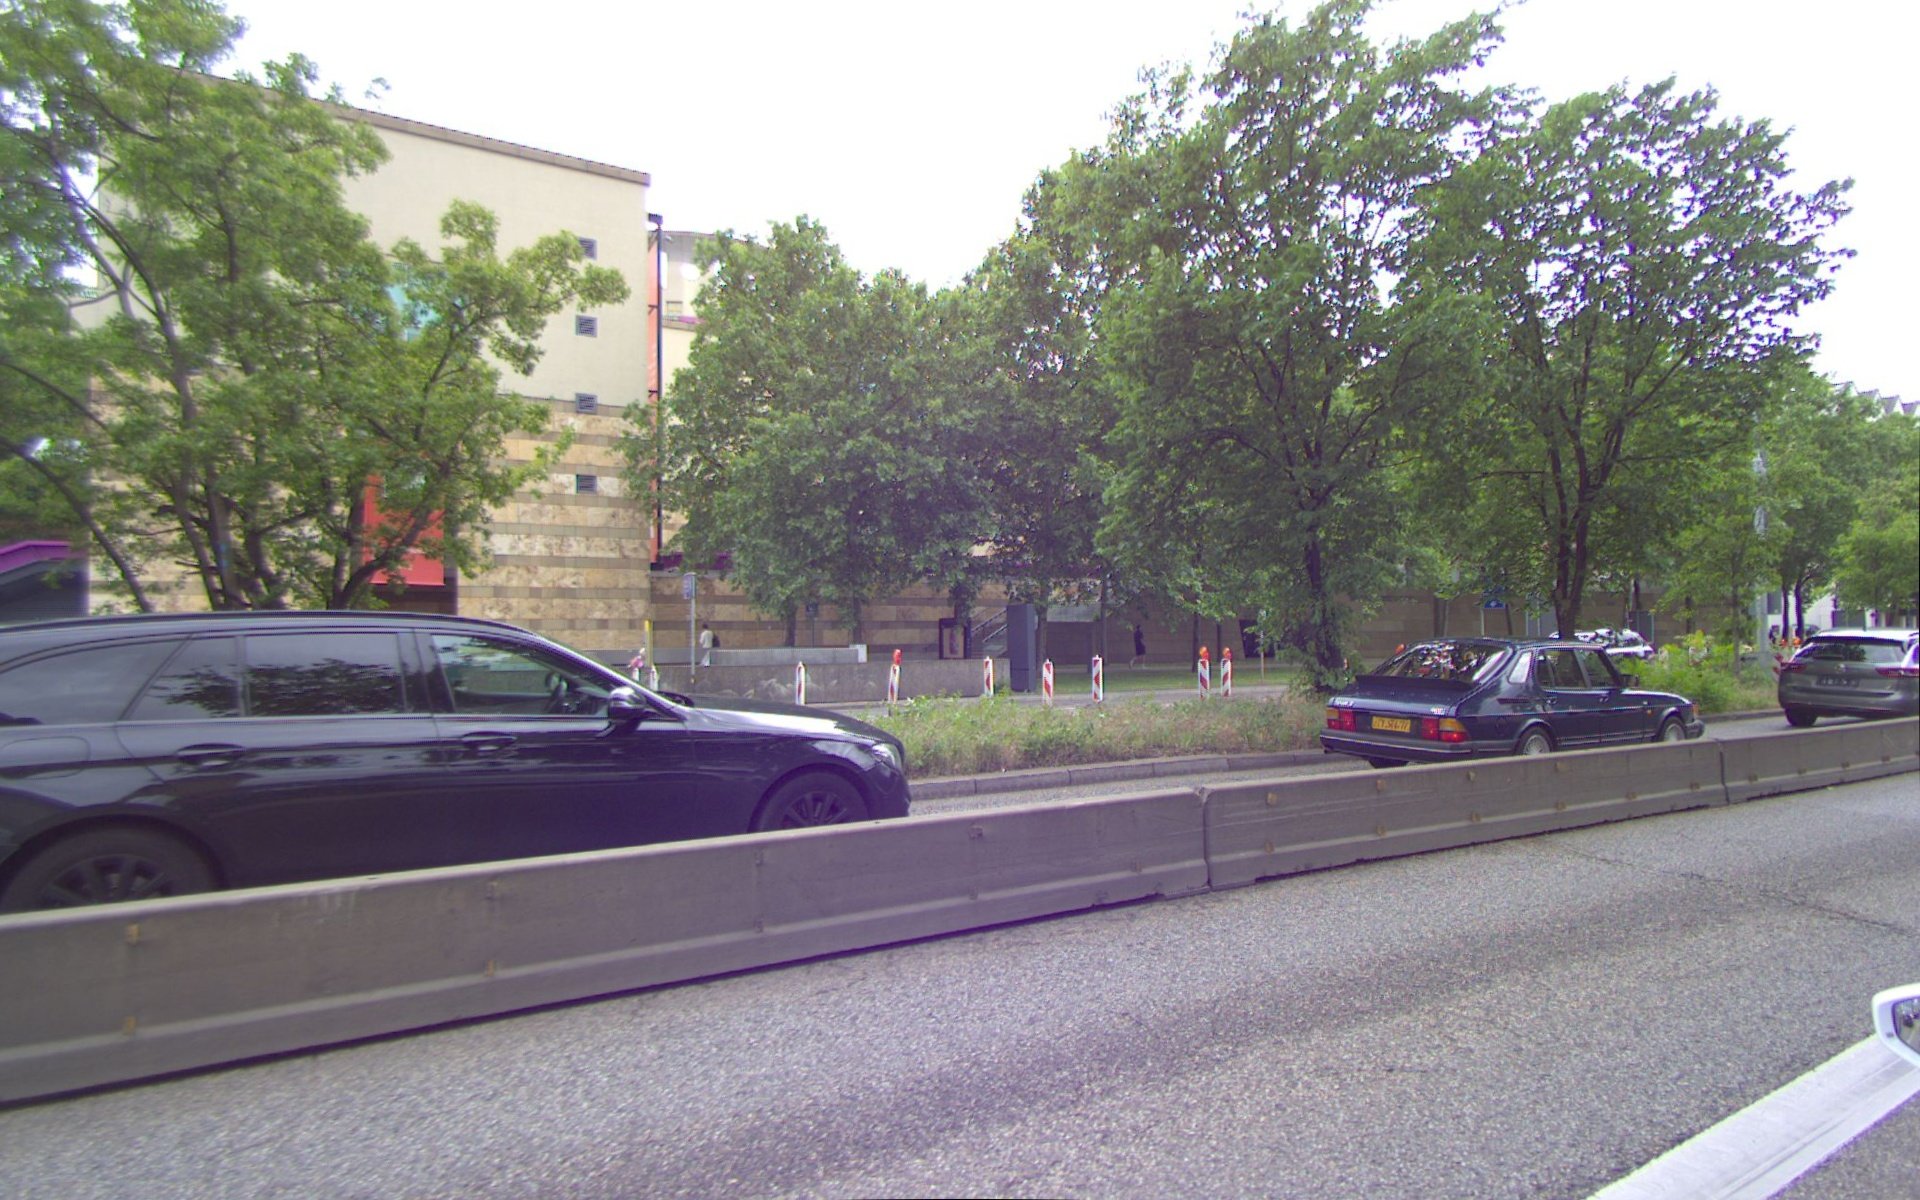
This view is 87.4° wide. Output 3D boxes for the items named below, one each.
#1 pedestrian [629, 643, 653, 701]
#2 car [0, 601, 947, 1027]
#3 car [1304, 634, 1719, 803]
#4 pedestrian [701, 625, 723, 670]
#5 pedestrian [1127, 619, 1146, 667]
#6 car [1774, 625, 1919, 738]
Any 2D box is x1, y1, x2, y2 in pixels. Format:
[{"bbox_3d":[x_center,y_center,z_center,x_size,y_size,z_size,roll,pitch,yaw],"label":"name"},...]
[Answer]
[{"bbox_3d":[-8.802,1.972,27.696,0.555,1.552,0.523,0,-1,-28],"label":"pedestrian"},{"bbox_3d":[-2.537,0.810,5.189,4.714,1.519,1.807,1,-2,-31],"label":"car"},{"bbox_3d":[5.708,1.049,10.247,4.490,1.385,1.670,1,-2,-31],"label":"car"},{"bbox_3d":[-8.804,1.669,35.676,0.616,1.590,0.434,1,-2,-38],"label":"pedestrian"},{"bbox_3d":[7.541,1.839,42.974,0.657,2.040,0.449,1,-1,-30],"label":"pedestrian"},{"bbox_3d":[13.808,1.120,14.751,3.914,1.455,1.653,1,-1,-31],"label":"car"}]
